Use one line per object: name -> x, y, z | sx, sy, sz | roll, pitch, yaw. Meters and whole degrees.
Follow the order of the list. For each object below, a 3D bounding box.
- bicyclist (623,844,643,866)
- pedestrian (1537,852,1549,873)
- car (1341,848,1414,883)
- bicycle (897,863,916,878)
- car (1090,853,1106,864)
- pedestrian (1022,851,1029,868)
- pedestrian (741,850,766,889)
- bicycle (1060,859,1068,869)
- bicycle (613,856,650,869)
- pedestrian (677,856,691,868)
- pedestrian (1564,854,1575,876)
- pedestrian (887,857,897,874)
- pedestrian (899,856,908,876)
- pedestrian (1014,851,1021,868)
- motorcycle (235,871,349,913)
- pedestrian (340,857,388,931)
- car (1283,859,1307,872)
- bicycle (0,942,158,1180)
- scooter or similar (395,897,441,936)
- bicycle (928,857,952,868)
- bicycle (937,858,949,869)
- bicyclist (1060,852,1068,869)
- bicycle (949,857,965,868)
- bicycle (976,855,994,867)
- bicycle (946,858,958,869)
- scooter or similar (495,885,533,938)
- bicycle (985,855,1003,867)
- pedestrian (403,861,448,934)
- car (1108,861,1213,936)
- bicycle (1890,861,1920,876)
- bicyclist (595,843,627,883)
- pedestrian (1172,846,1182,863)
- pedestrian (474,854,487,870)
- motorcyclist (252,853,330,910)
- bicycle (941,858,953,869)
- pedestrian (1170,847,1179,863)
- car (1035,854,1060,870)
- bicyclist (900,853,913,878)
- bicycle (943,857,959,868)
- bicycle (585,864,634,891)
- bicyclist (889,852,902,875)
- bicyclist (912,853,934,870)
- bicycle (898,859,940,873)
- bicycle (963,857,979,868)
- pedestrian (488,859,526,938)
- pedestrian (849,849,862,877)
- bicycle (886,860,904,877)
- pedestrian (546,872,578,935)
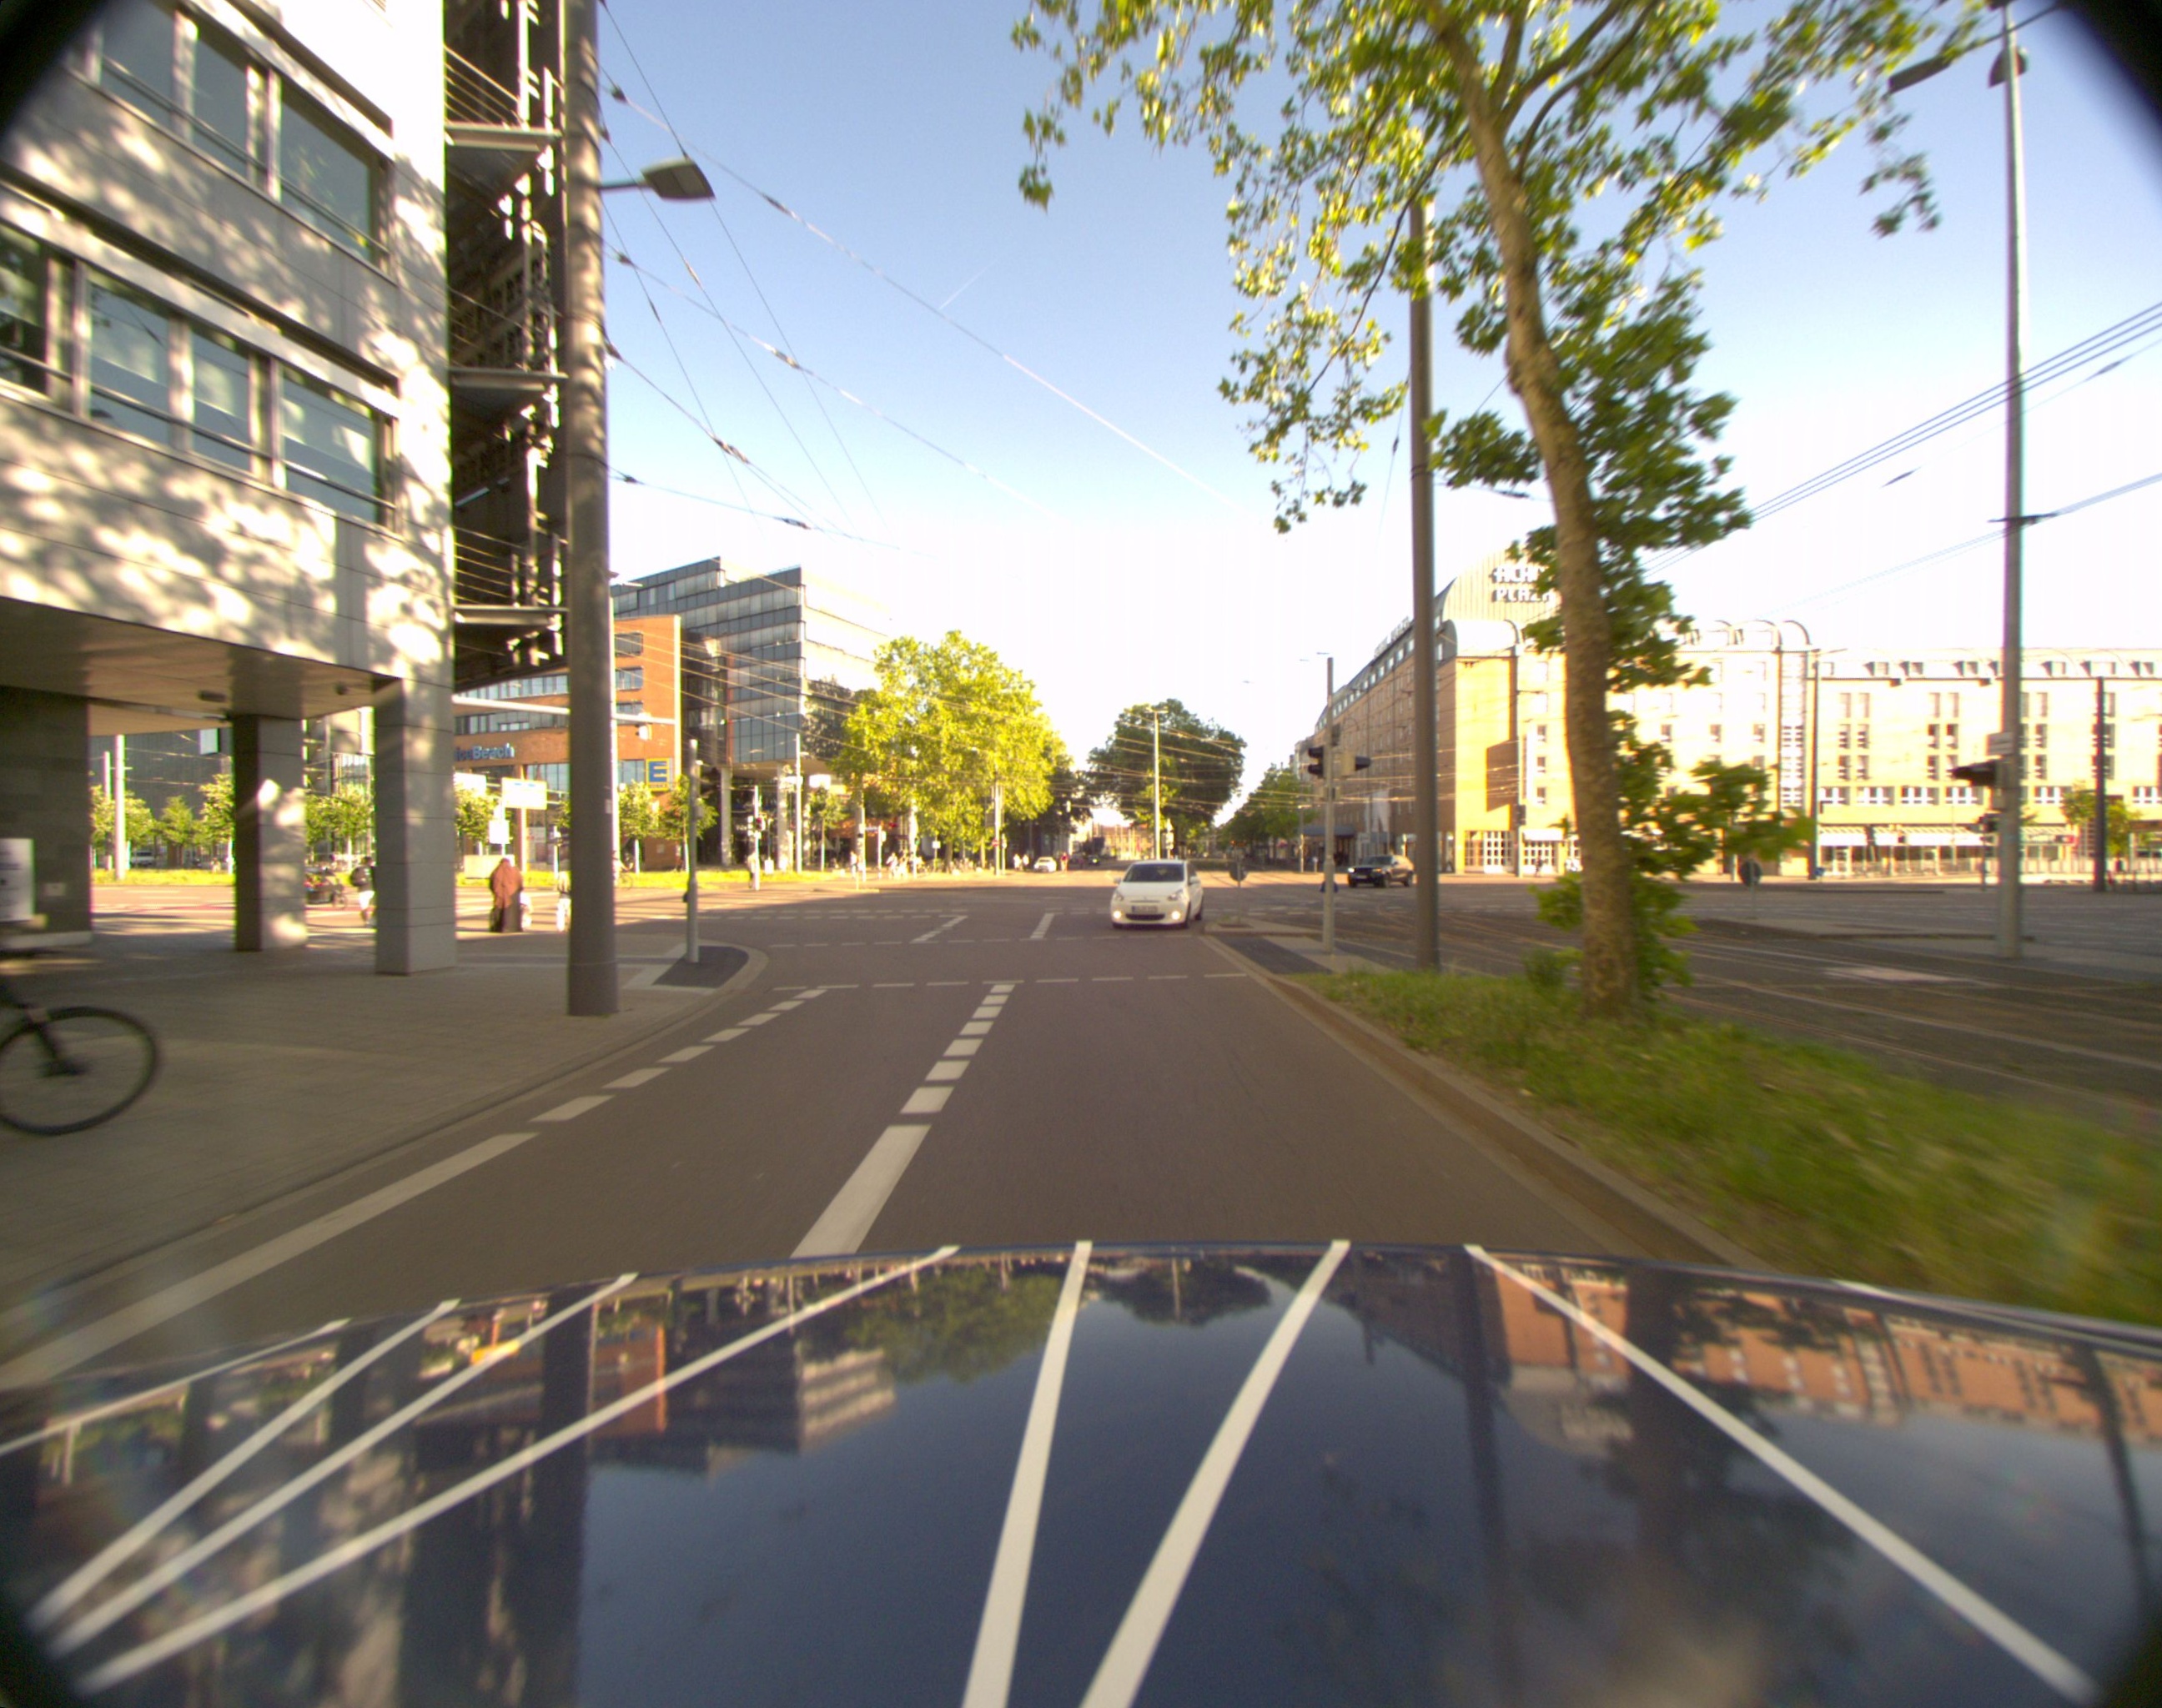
bicyclist -> -39.119, 0.105, 66.354 | 1.228, 1.920, 0.836 | 0, 1, 14
pedestrian -> 38.552, 0.737, 63.438 | 0.696, 1.757, 0.572 | 1, 0, -34
car -> 15.222, 0.591, 38.869 | 1.951, 1.652, 4.365 | -1, -1, 43
bicycle -> -12.177, 1.146, 53.086 | 0.515, 1.015, 1.860 | 0, 1, 11
car -> 2.660, 0.668, 116.987 | 1.898, 1.525, 4.002 | 0, 1, 9
pedestrian -> -5.700, 0.537, 77.996 | 0.642, 1.766, 0.617 | 0, 1, 0
pedestrian -> -15.407, 0.708, 35.786 | 0.676, 1.813, 0.885 | 0, 2, 5
bicycle -> -1.620, 0.945, 72.897 | 0.651, 0.905, 1.859 | 0, 0, 4
bicycle -> -39.252, 0.697, 66.389 | 3.045, 1.107, 0.836 | 0, 1, 14
pedestrian -> -35.669, 0.694, 68.258 | 0.812, 1.051, 0.787 | 1, 1, 23
pedestrian -> 40.462, 0.919, 62.968 | 0.734, 1.823, 0.496 | -2, 3, -35
pedestrian -> -17.674, 1.074, 70.964 | 0.562, 1.518, 0.779 | 0, 1, 20
pedestrian -> -13.736, 0.912, 58.807 | 0.489, 1.573, 0.659 | 1, 1, 3
pedestrian -> -6.471, 0.552, 77.862 | 0.642, 1.766, 0.617 | 0, 1, 0
motorcycle -> -24.444, 1.149, 23.557 | 2.938, 1.224, 0.987 | 0, 1, 11
pedestrian -> -16.823, 0.919, 17.834 | 0.644, 1.705, 0.691 | 1, 1, 34
car -> 25.993, 1.344, 92.328 | 1.795, 1.457, 4.310 | 1, 1, 2
bicycle -> -6.003, 1.122, 3.708 | 0.612, 1.157, 1.849 | 3, 0, 4
scooter or similar -> -14.425, 1.356, 16.542 | 0.661, 0.786, 0.616 | 0, -1, -31
bicycle -> -14.863, 0.907, 79.863 | 2.924, 1.085, 0.880 | 1, 1, 41
bicycle -> -12.742, 0.873, 70.150 | 0.390, 0.980, 1.712 | 1, 1, 14
bicyclist -> -1.616, 0.647, 72.940 | 0.637, 1.606, 0.929 | 0, 1, 4
bicycle -> -13.408, 0.926, 82.019 | 0.879, 1.085, 2.926 | 0, 1, -27
bicycle -> -10.240, 0.731, 80.979 | 0.879, 1.228, 2.926 | 0, 1, -27
bicycle -> -11.859, 0.864, 69.923 | 0.390, 0.980, 1.712 | 1, 1, 14
scooter or similar -> -13.095, 1.304, 17.561 | 0.551, 1.123, 1.016 | 0, 1, -29
bicycle -> -9.324, 0.733, 81.479 | 0.879, 1.228, 2.926 | 0, 1, -27
pedestrian -> -14.762, 0.967, 17.127 | 0.661, 1.591, 0.702 | 0, 0, -31
car -> 1.960, 0.913, 17.516 | 1.638, 1.458, 4.191 | 0, 0, 17
bicycle -> 67.815, 1.165, 62.545 | 0.553, 1.135, 1.775 | -1, 2, 2
bicyclist -> -19.972, 0.375, 32.285 | 0.994, 1.657, 0.765 | 0, 1, -19
pedestrian -> 8.681, 0.086, 69.010 | 0.742, 1.530, 0.676 | 0, 0, -8
pedestrian -> -58.289, 0.750, 73.758 | 0.621, 1.560, 0.709 | 1, 1, 23
motorcyclist -> -24.483, 0.827, 23.574 | 1.458, 1.721, 1.023 | 0, 1, 11
bicycle -> -12.324, 0.868, 70.047 | 0.390, 0.980, 1.712 | 1, 1, 14
pedestrian -> 8.586, 0.099, 69.825 | 0.742, 1.530, 0.651 | 0, 0, -8
car -> -3.261, 0.802, 75.342 | 1.998, 1.477, 4.002 | 0, -1, 4
bicyclist -> -12.198, 0.802, 53.080 | 0.569, 1.685, 0.745 | 0, 1, 11
bicycle -> -13.876, 0.918, 80.938 | 0.879, 1.085, 2.926 | 0, 1, -27
bicycle -> -20.019, 0.976, 32.282 | 1.686, 1.101, 0.643 | 0, 1, -19
bicyclist -> -12.275, 0.601, 50.340 | 0.569, 1.494, 0.745 | 0, 1, 12
bicyclist -> -12.931, 0.604, 62.273 | 1.562, 1.373, 1.044 | 0, 1, 4
bicycle -> -13.254, 0.968, 62.286 | 3.177, 1.126, 1.044 | 0, 0, 4
bicycle -> -11.938, 0.922, 82.366 | 0.879, 1.085, 2.926 | 0, 1, -27
pedestrian -> -12.698, 0.961, 16.835 | 0.582, 1.698, 0.637 | 0, 1, -29
pedestrian -> -15.087, 0.599, 50.859 | 0.514, 1.826, 0.704 | -1, 0, 35
bicycle -> -12.302, 0.955, 50.304 | 0.515, 1.015, 1.634 | 0, 1, 13
pedestrian -> -11.967, 1.123, 17.519 | 0.547, 1.394, 0.637 | 0, 1, -29
